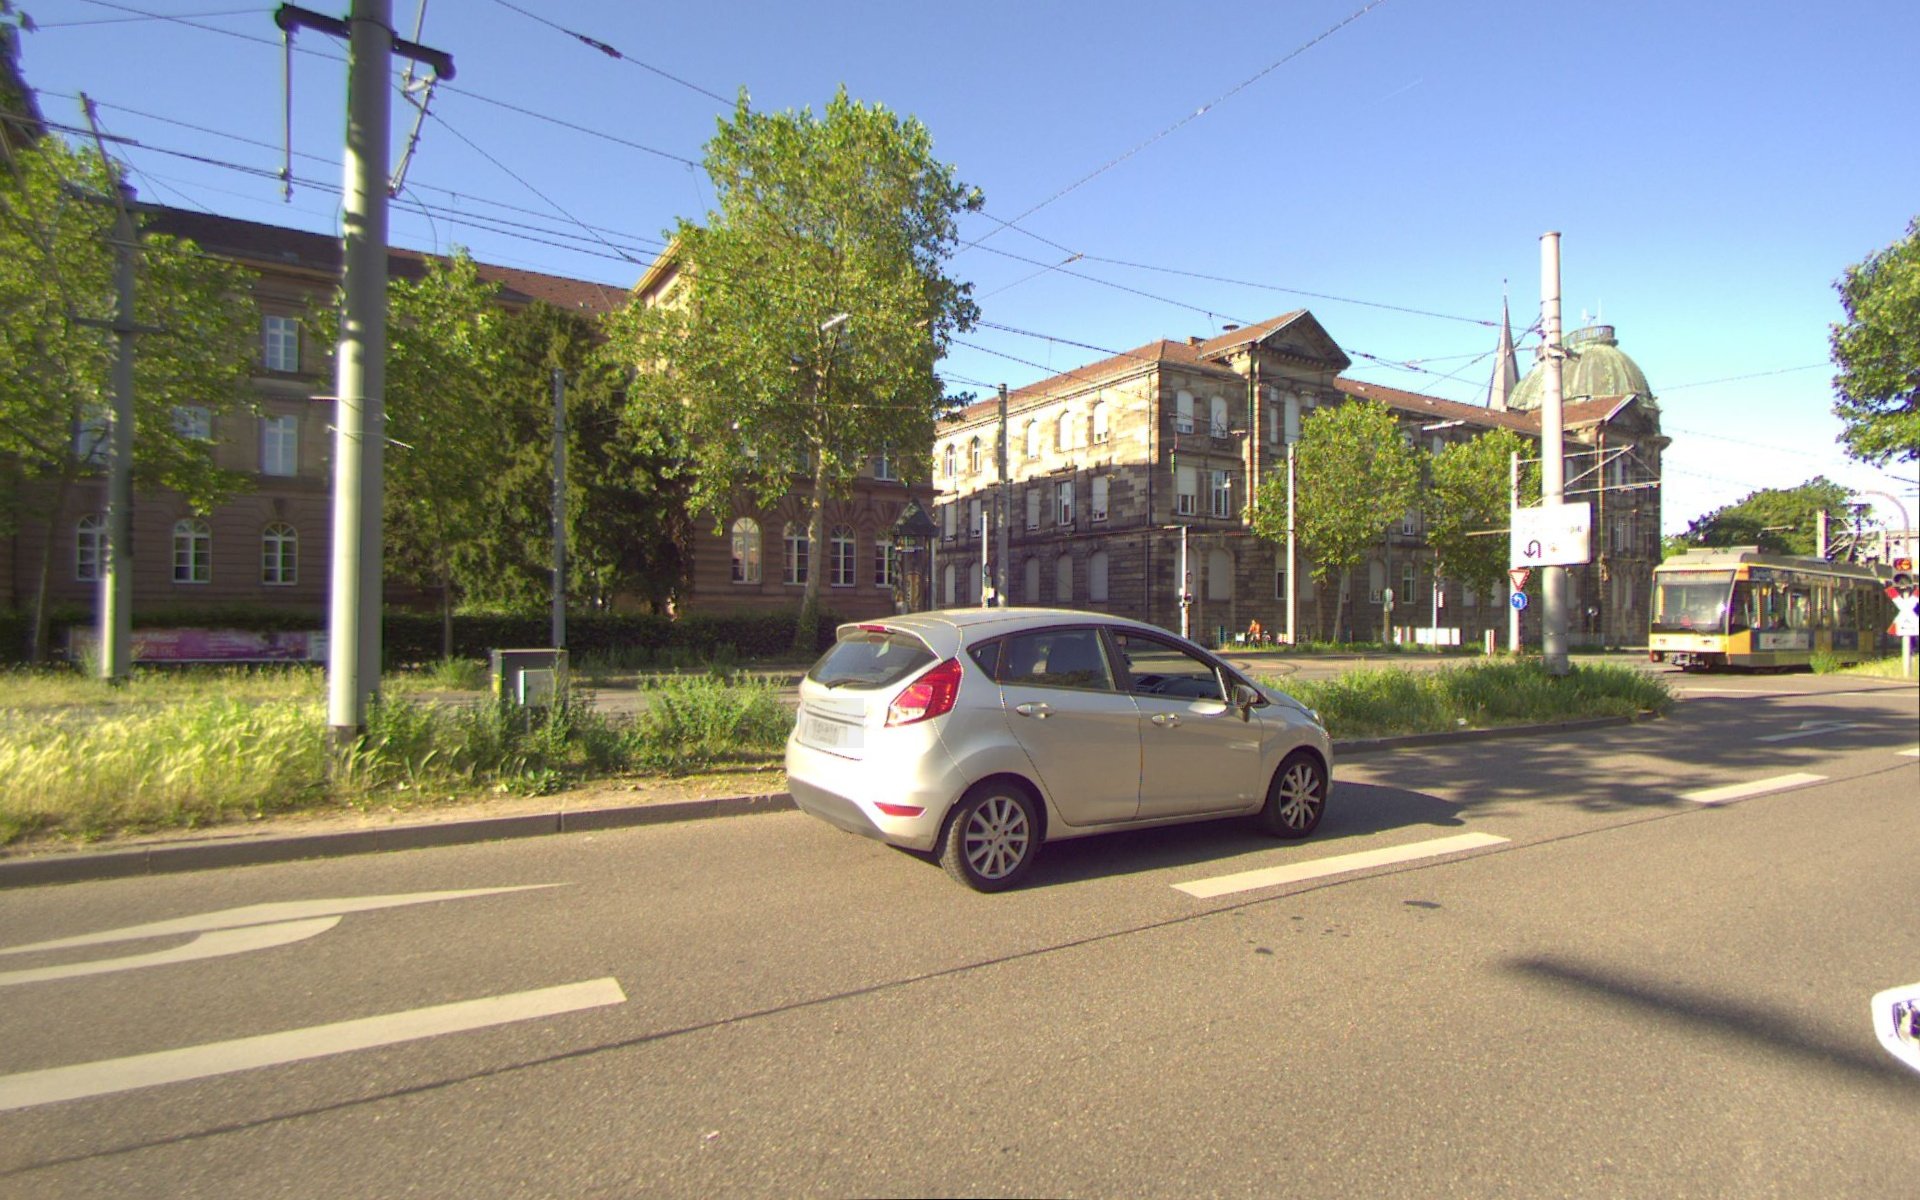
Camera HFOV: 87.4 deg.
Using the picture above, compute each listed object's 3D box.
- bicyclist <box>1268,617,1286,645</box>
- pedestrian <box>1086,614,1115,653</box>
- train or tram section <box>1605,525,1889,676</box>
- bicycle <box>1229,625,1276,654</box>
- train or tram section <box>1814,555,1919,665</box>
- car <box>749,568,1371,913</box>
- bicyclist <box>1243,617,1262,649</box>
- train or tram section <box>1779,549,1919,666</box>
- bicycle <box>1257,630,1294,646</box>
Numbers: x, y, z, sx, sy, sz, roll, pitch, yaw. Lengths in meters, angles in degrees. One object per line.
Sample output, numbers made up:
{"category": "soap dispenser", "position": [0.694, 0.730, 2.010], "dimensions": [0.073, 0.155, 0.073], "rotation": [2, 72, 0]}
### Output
{"category": "bicyclist", "position": [17.314, 1.691, 54.822], "dimensions": [0.717, 1.481, 0.795], "rotation": [2, 1, 32]}
{"category": "pedestrian", "position": [6.708, 1.605, 48.041], "dimensions": [0.991, 1.824, 0.858], "rotation": [1, 1, -31]}
{"category": "train or tram section", "position": [24.690, 0.133, 30.997], "dimensions": [14.132, 3.863, 2.909], "rotation": [2, 1, -35]}
{"category": "bicycle", "position": [15.499, 2.102, 53.319], "dimensions": [2.306, 1.408, 0.526], "rotation": [2, 1, 25]}
{"category": "train or tram section", "position": [38.003, 0.437, 40.428], "dimensions": [10.695, 3.949, 2.933], "rotation": [1, 1, -35]}
{"category": "car", "position": [0.768, 0.683, 6.482], "dimensions": [3.824, 1.617, 1.651], "rotation": [1, 1, -35]}
{"category": "bicyclist", "position": [15.516, 1.737, 53.287], "dimensions": [0.854, 1.646, 0.675], "rotation": [1, 0, 24]}
{"category": "train or tram section", "position": [32.043, 0.278, 36.197], "dimensions": [3.827, 3.949, 2.935], "rotation": [1, 1, -35]}
{"category": "bicycle", "position": [17.215, 2.066, 54.859], "dimensions": [1.868, 0.732, 0.525], "rotation": [2, 1, 32]}
